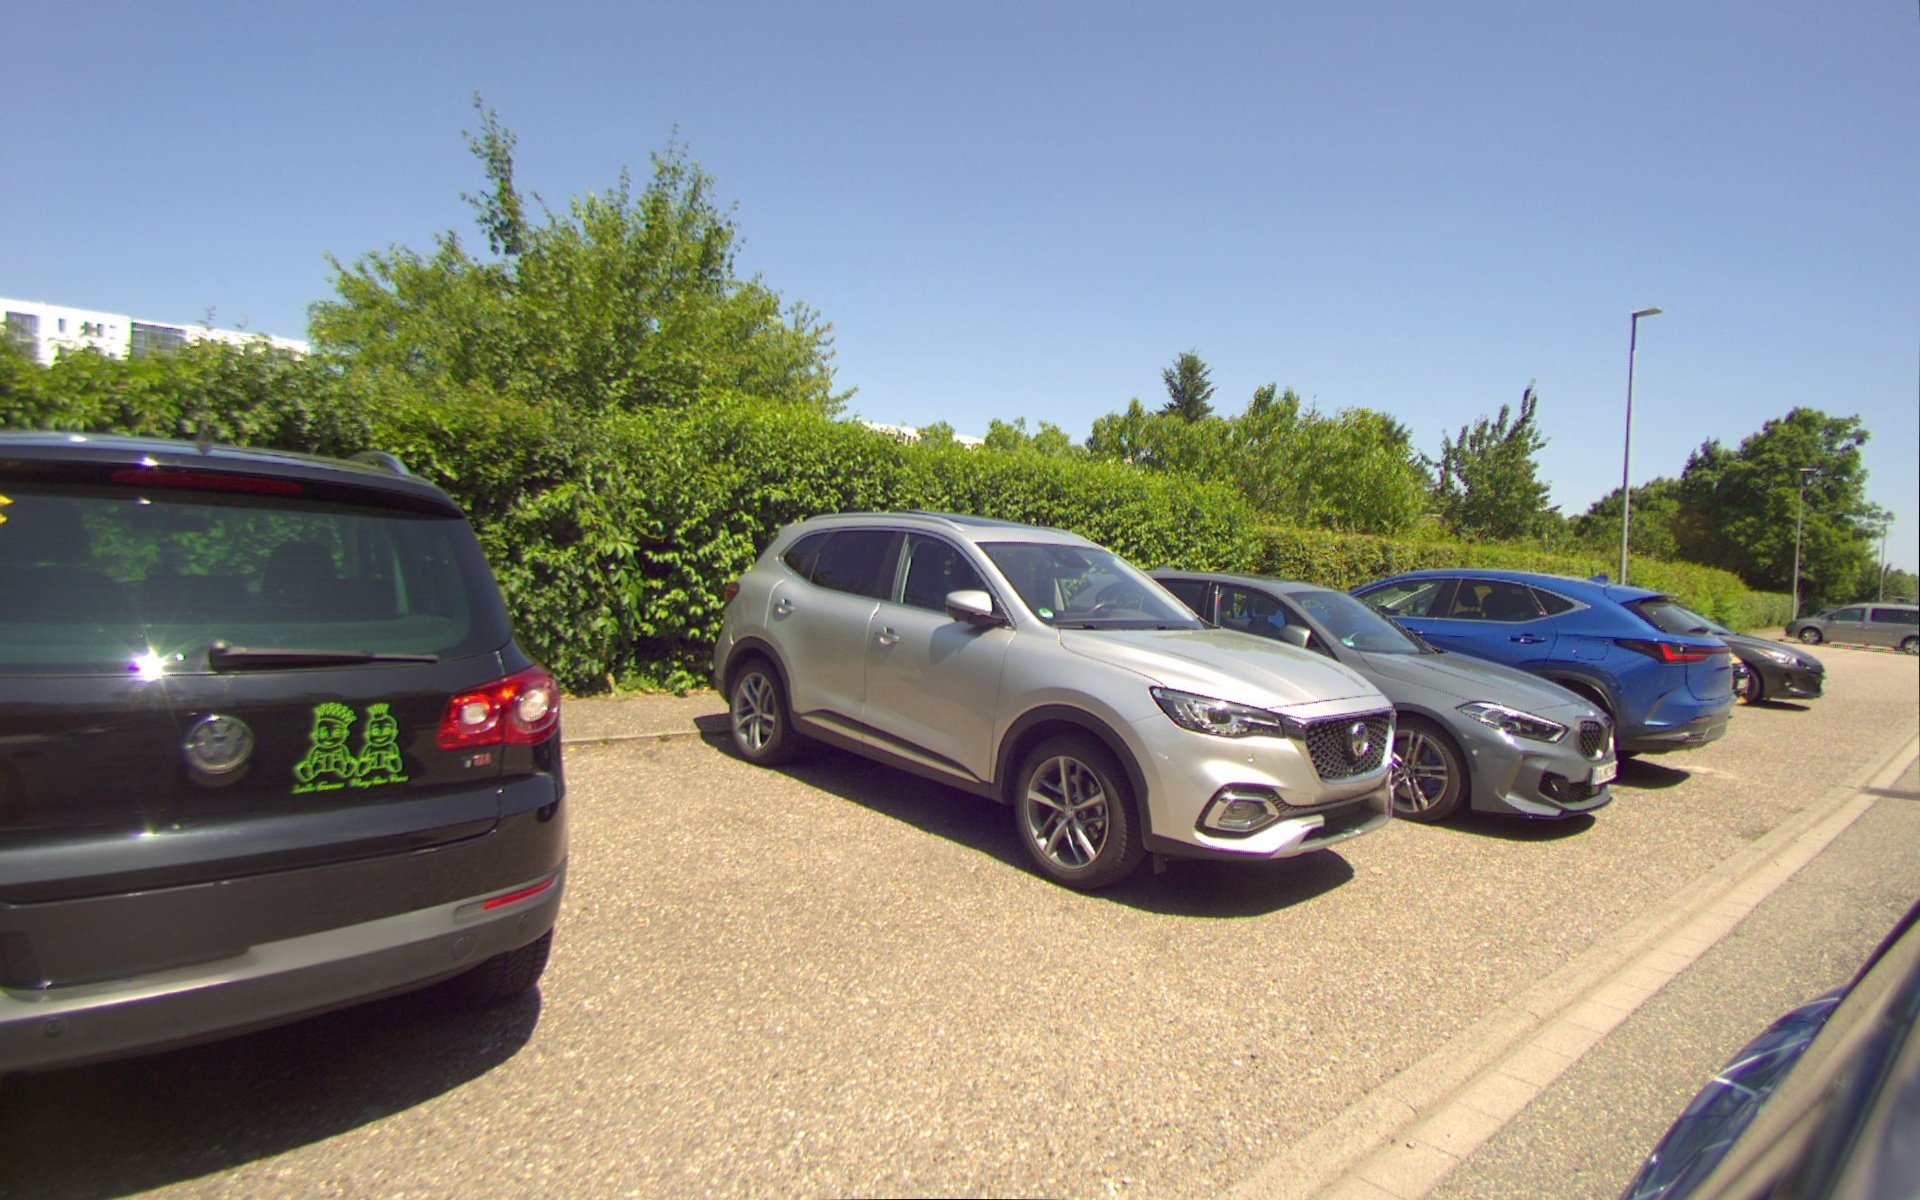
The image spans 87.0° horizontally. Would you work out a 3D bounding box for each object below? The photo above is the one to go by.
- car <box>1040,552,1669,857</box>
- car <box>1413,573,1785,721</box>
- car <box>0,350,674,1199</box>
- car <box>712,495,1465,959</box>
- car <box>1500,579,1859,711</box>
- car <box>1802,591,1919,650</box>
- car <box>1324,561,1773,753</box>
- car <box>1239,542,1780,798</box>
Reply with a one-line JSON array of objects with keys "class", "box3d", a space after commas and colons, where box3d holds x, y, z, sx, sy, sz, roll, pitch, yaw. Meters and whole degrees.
[{"class": "car", "box3d": [2.656, 0.515, 7.622, 1.650, 1.426, 4.036, 1, 5, -41]}, {"class": "car", "box3d": [8.773, 0.530, 14.199, 1.620, 1.463, 4.037, 1, 5, -40]}, {"class": "car", "box3d": [-2.710, 0.255, 3.569, 1.735, 1.706, 3.983, 1, 4, -40]}, {"class": "car", "box3d": [0.385, 0.330, 5.929, 1.746, 1.661, 4.168, 1, 5, -42]}, {"class": "car", "box3d": [11.090, 0.589, 15.884, 1.620, 1.434, 4.253, 1, 5, -40]}, {"class": "car", "box3d": [35.141, 0.803, 38.540, 1.668, 1.872, 4.487, 1, 5, -44]}, {"class": "car", "box3d": [6.502, 0.485, 11.578, 1.620, 1.532, 4.037, 1, 5, -40]}, {"class": "car", "box3d": [4.865, 0.437, 9.474, 1.644, 1.661, 4.037, 1, 5, -40]}]
